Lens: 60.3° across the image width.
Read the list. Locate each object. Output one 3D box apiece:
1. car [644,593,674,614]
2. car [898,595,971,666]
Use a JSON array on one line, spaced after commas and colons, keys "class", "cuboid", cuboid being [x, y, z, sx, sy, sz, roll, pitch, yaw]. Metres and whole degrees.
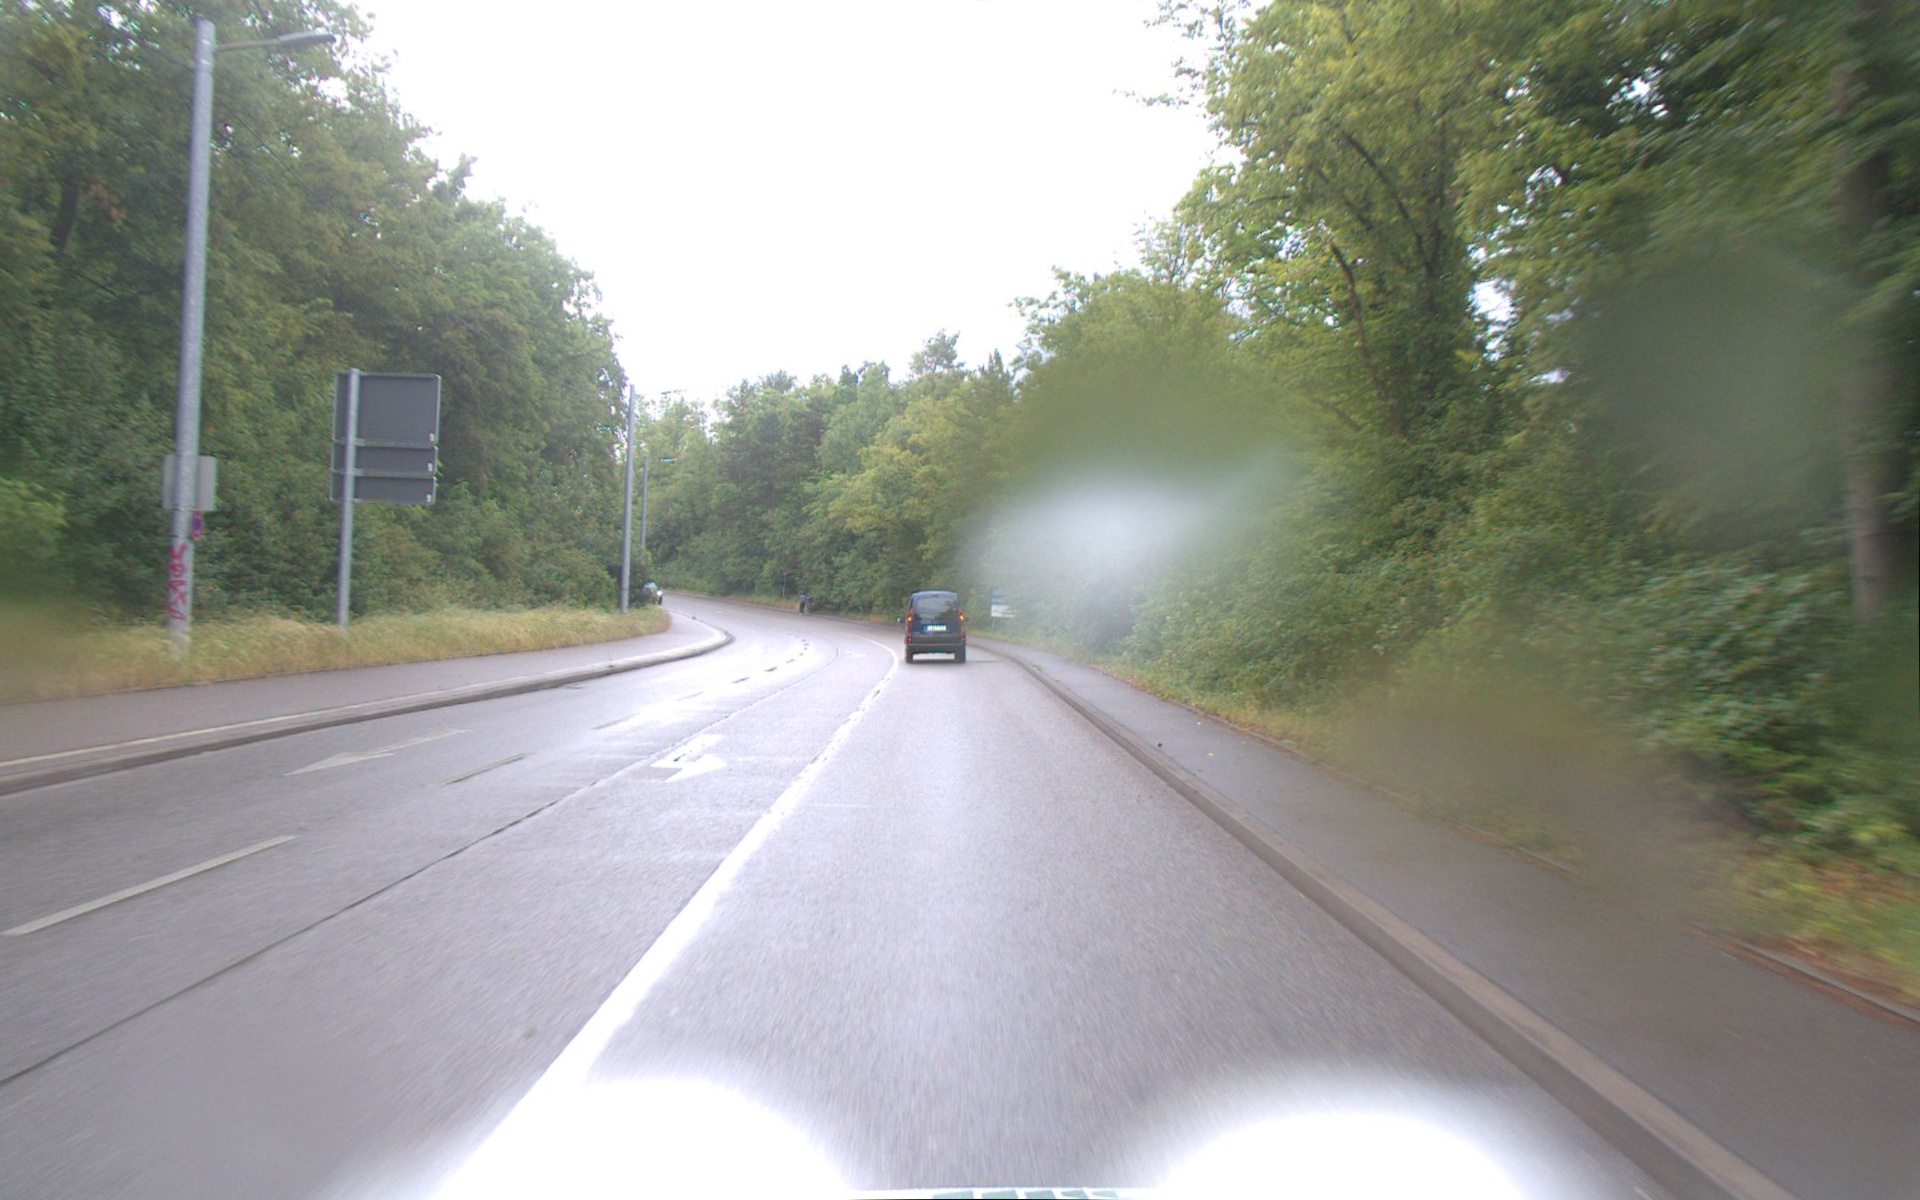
[{"class": "car", "cuboid": [-24.352, 0.263, 133.769, 1.781, 1.623, 4.494, 1, -1, -18]}, {"class": "car", "cuboid": [-0.740, 0.798, 44.934, 1.791, 1.825, 3.997, 0, 0, -3]}]
